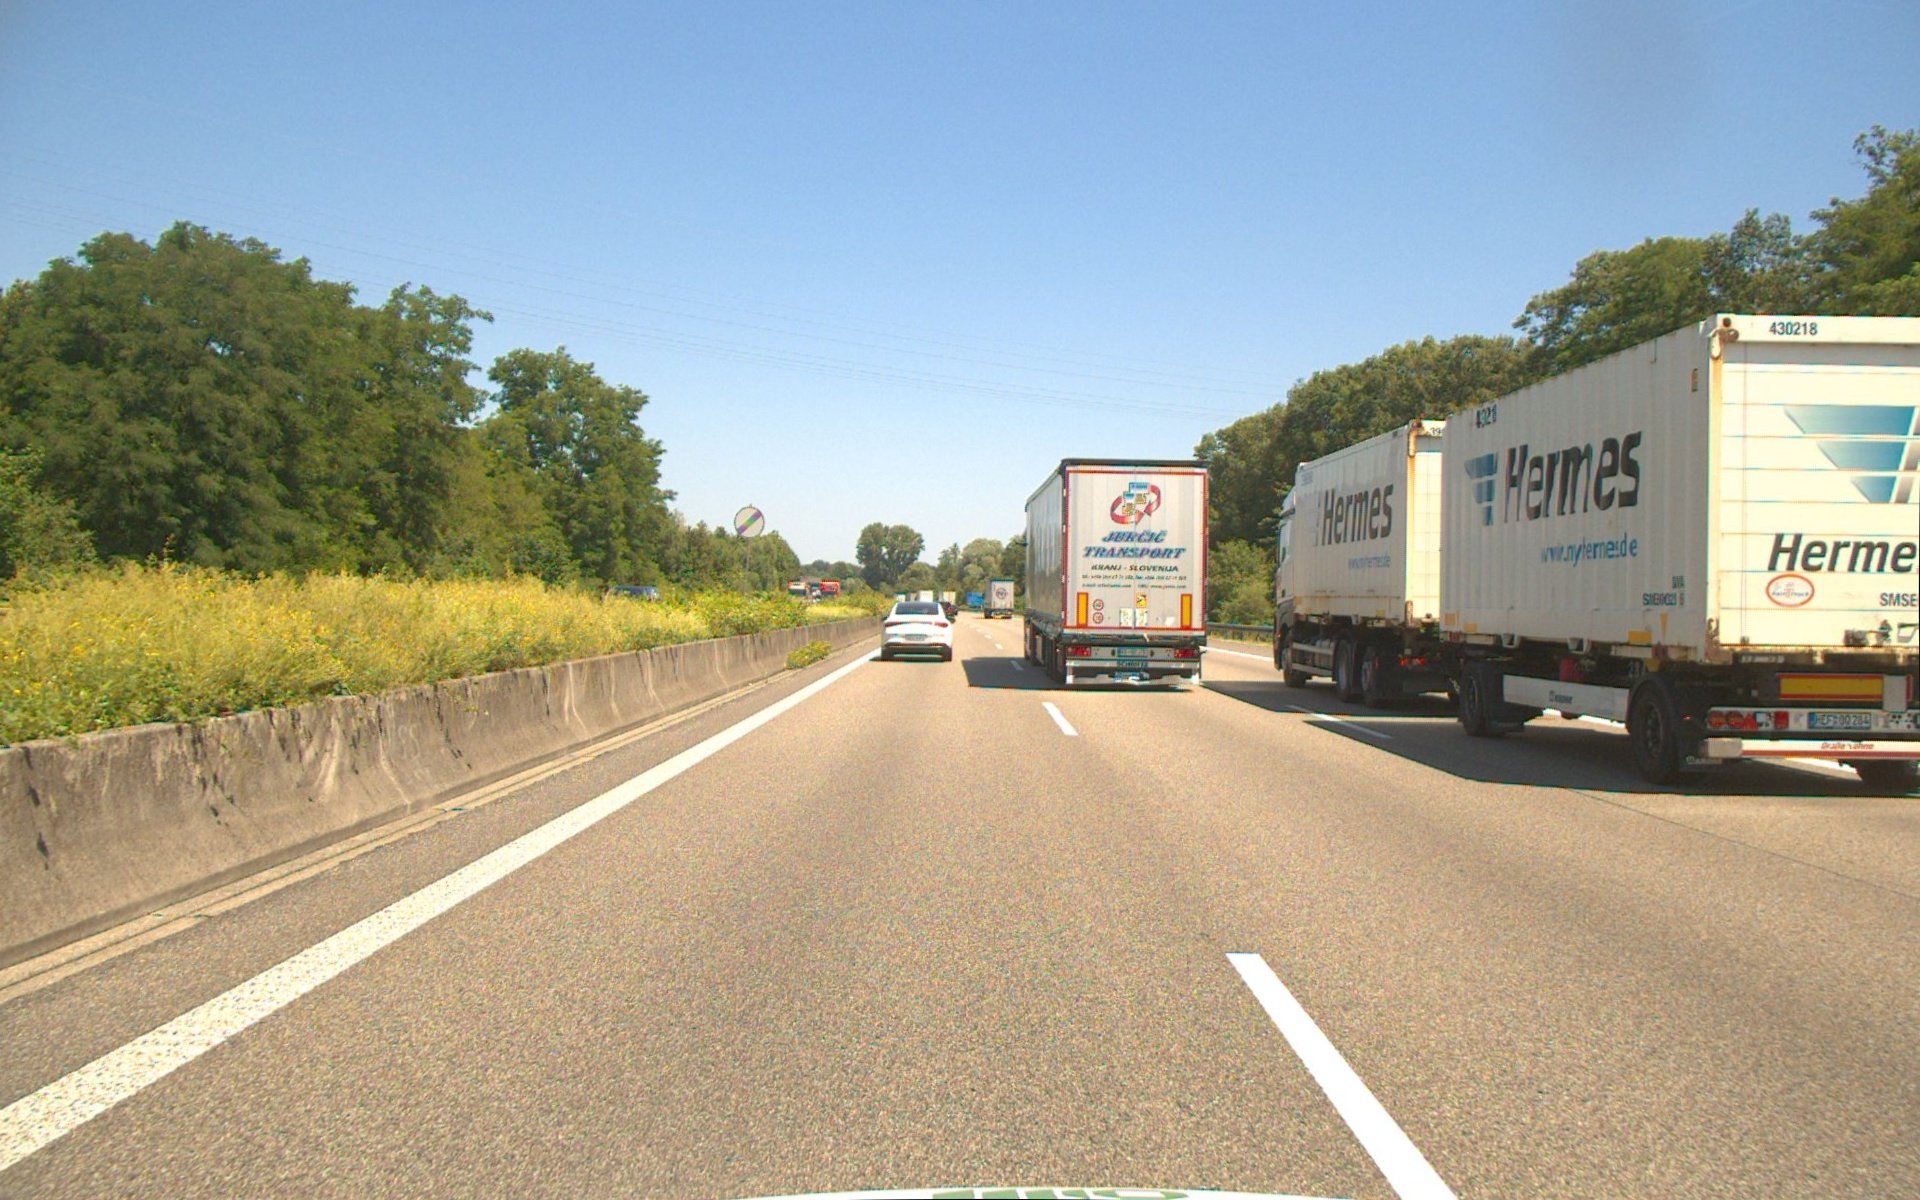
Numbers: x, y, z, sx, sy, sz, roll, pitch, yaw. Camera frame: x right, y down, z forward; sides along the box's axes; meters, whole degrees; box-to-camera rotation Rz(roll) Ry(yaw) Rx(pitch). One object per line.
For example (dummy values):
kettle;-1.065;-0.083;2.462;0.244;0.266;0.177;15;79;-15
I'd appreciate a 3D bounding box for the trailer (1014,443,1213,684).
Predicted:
trailer;2.846;-0.594;34.990;2.684;4.044;13.651;1;0;-1

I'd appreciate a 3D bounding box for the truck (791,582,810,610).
truck;-21.095;-0.520;218.887;2.310;3.665;4.161;1;0;-4

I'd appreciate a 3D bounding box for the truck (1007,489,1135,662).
truck;2.713;-0.566;42.246;2.667;4.044;6.500;1;0;-1

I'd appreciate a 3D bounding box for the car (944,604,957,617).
car;-1.342;1.444;227.631;1.689;1.613;3.999;1;0;-2

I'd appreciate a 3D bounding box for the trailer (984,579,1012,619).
trailer;4.215;-0.068;185.063;2.570;4.335;14.058;1;0;-1

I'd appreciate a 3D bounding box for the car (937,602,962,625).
car;-0.836;1.070;132.353;1.952;1.803;4.000;1;0;0

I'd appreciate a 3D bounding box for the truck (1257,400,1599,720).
truck;7.160;-0.512;27.248;2.475;4.202;10.667;1;0;-1

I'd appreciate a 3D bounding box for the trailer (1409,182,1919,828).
trailer;7.265;-0.569;16.235;2.503;4.131;11.261;1;0;-1

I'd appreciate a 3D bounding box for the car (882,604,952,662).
car;-1.094;0.812;42.203;1.681;1.393;3.374;1;0;-2

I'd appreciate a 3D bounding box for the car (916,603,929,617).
car;-5.188;1.333;227.678;1.689;1.814;3.999;1;0;-1
